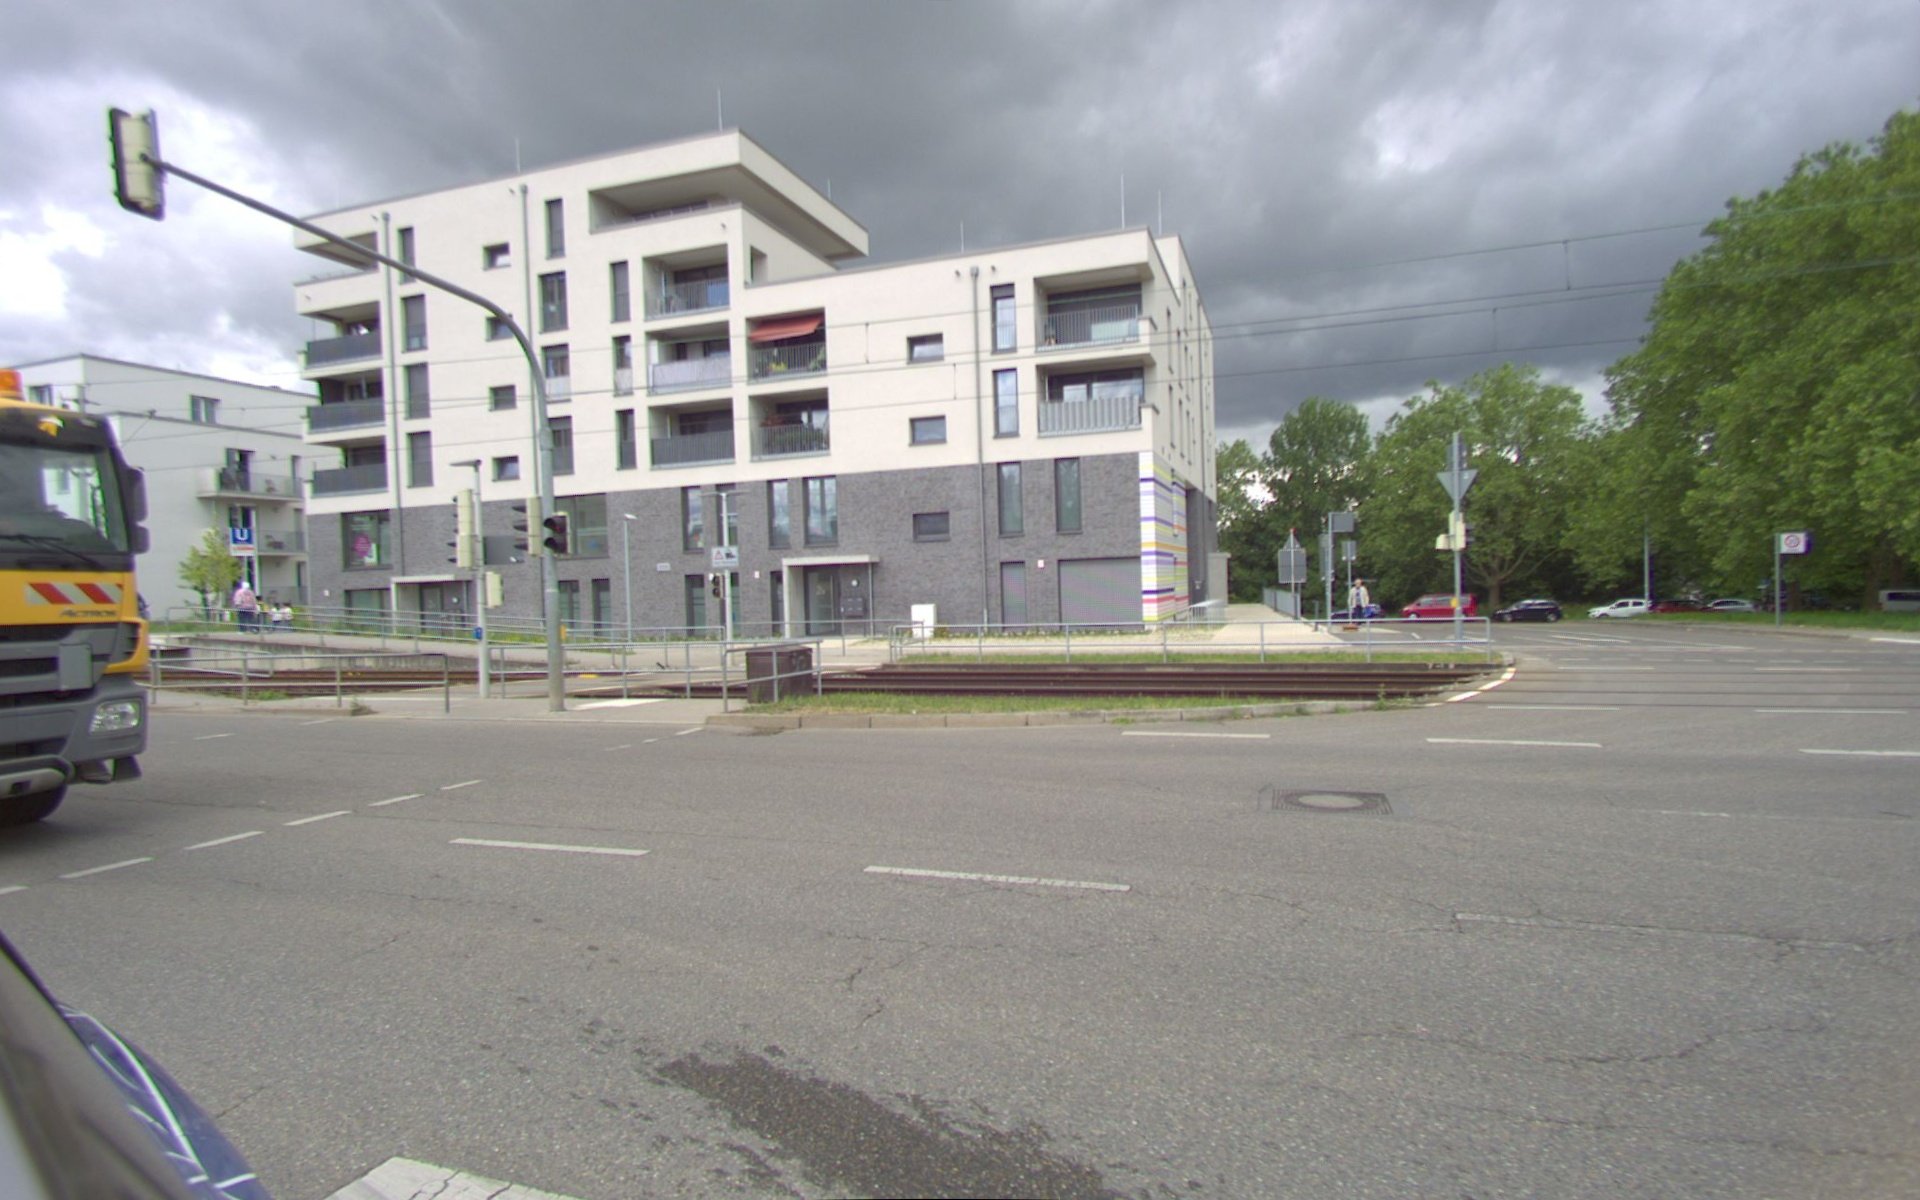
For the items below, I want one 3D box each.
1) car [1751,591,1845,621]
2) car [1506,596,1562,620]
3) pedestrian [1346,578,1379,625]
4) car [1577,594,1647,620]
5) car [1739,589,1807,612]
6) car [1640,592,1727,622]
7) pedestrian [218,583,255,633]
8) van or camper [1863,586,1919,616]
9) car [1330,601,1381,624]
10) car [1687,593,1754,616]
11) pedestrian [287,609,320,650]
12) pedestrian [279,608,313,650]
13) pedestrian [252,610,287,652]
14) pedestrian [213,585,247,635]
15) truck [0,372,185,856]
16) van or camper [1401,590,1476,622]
[{"bbox_3d":[47.476,0.335,57.411,3.755,1.674,1.655,-1,1,19],"label":"car"},{"bbox_3d":[38.153,0.552,67.343,3.123,1.513,1.590,-2,0,26],"label":"car"},{"bbox_3d":[14.415,0.052,36.260,0.988,1.682,0.847,-1,1,29],"label":"pedestrian"},{"bbox_3d":[42.395,0.453,65.898,3.577,1.548,1.857,-2,0,26],"label":"car"},{"bbox_3d":[58.277,0.018,72.582,1.636,1.577,3.461,-1,1,-26],"label":"car"},{"bbox_3d":[42.124,0.423,58.989,3.757,1.674,1.654,-1,1,20],"label":"car"},{"bbox_3d":[-25.247,0.273,35.314,0.759,1.700,0.711,-2,0,19],"label":"pedestrian"},{"bbox_3d":[53.184,0.015,55.594,4.969,1.545,1.852,-2,0,20],"label":"van or camper"},{"bbox_3d":[28.151,0.883,72.089,3.253,1.513,1.590,-2,0,26],"label":"car"},{"bbox_3d":[47.720,0.285,63.561,3.123,1.354,1.434,-2,0,26],"label":"car"},{"bbox_3d":[-23.451,1.048,36.171,0.665,1.420,0.711,-2,0,18],"label":"pedestrian"},{"bbox_3d":[-22.950,1.007,34.978,0.665,1.420,0.711,-2,0,18],"label":"pedestrian"},{"bbox_3d":[-23.871,1.071,34.992,0.665,1.420,0.711,-2,0,18],"label":"pedestrian"},{"bbox_3d":[-30.263,0.395,41.969,0.665,2.029,0.907,-2,0,18],"label":"pedestrian"},{"bbox_3d":[-9.729,0.134,7.297,7.715,3.026,2.713,-1,1,19],"label":"truck"},{"bbox_3d":[33.006,0.415,69.882,4.536,2.040,2.030,-2,0,26],"label":"van or camper"}]
